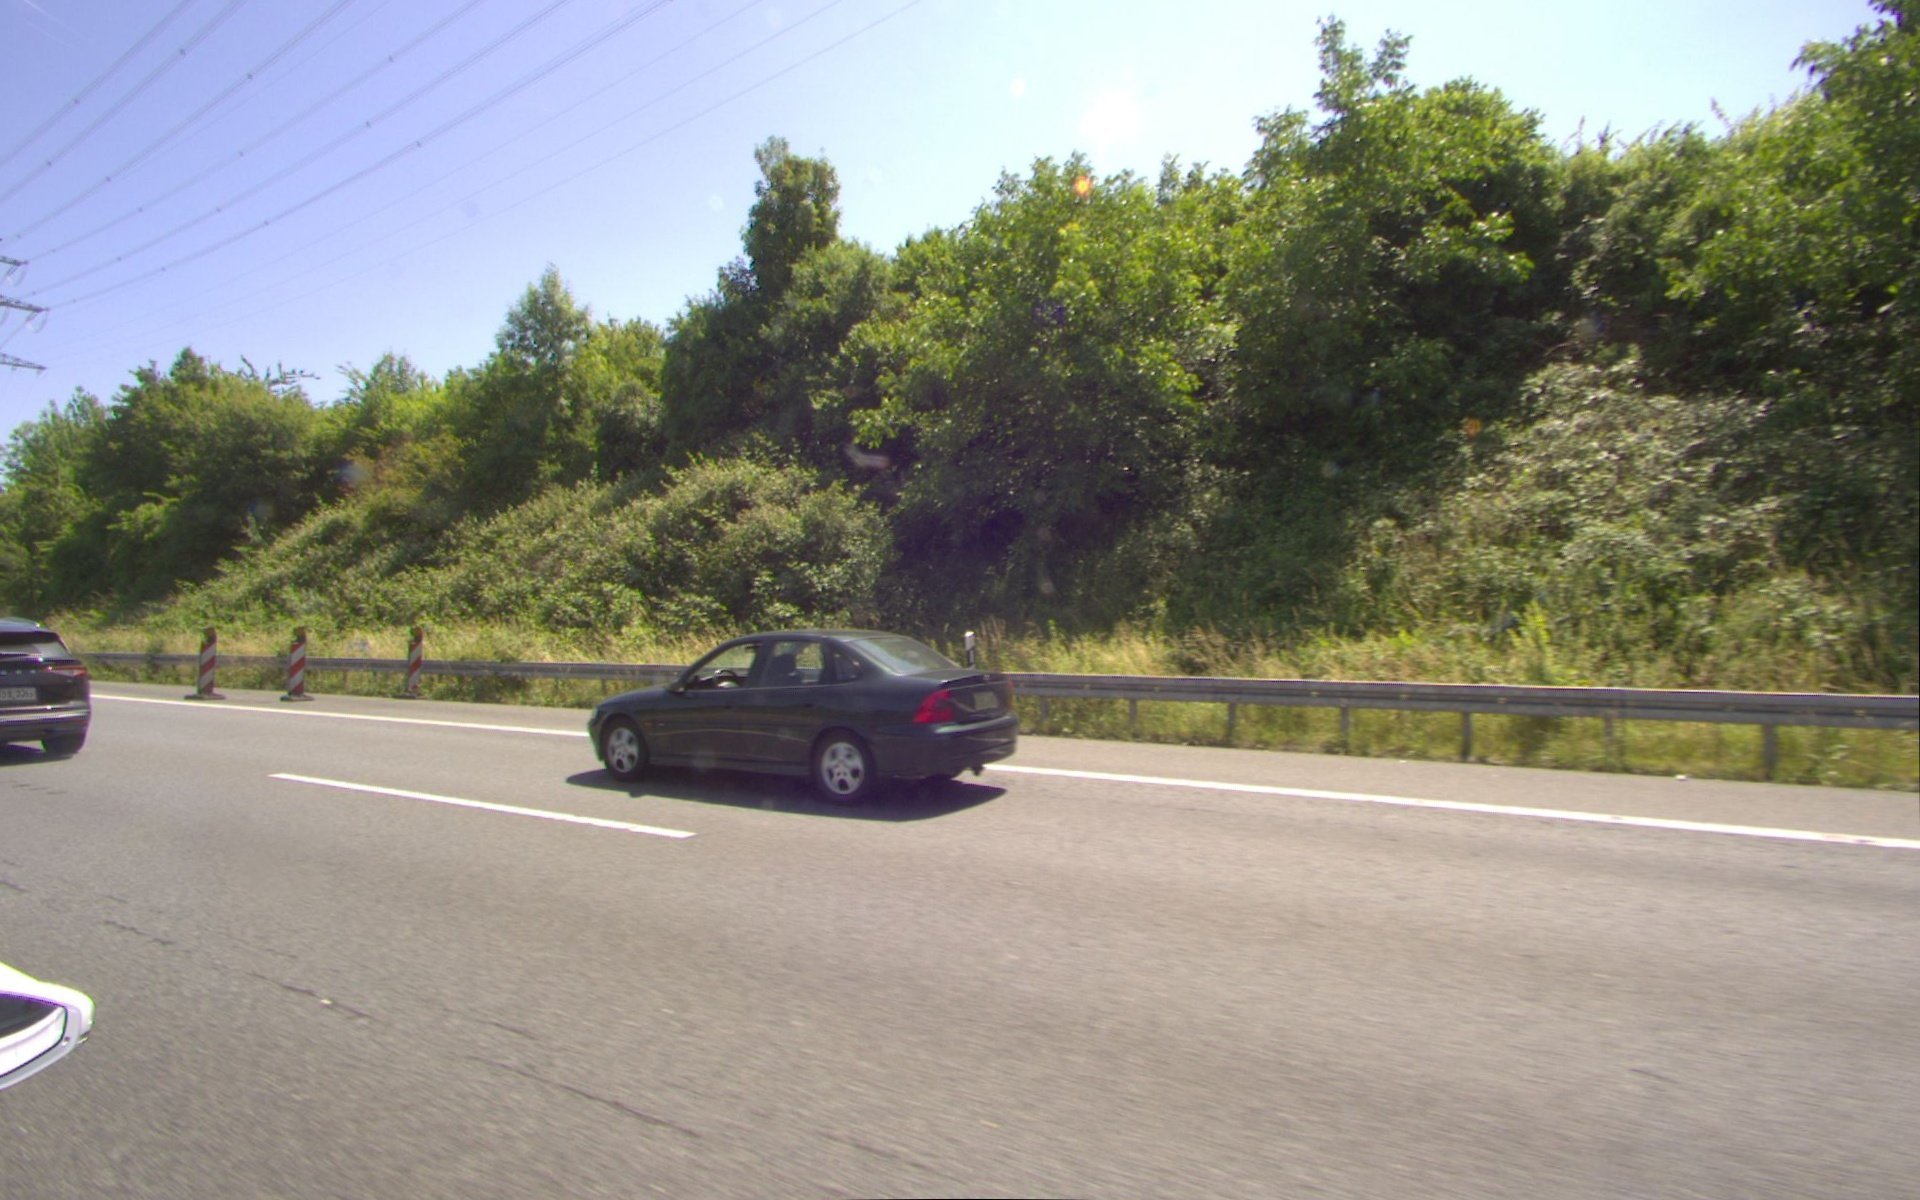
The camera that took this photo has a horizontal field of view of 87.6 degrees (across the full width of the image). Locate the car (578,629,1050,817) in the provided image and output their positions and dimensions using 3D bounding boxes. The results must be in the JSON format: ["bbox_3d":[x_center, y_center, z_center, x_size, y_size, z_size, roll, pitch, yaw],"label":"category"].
[{"bbox_3d":[-1.442,0.976,9.303,4.240,1.395,1.732,-1,-2,32],"label":"car"}]

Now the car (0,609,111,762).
[{"bbox_3d":[-12.131,0.940,11.902,4.365,1.635,1.825,-1,-1,31],"label":"car"}]
